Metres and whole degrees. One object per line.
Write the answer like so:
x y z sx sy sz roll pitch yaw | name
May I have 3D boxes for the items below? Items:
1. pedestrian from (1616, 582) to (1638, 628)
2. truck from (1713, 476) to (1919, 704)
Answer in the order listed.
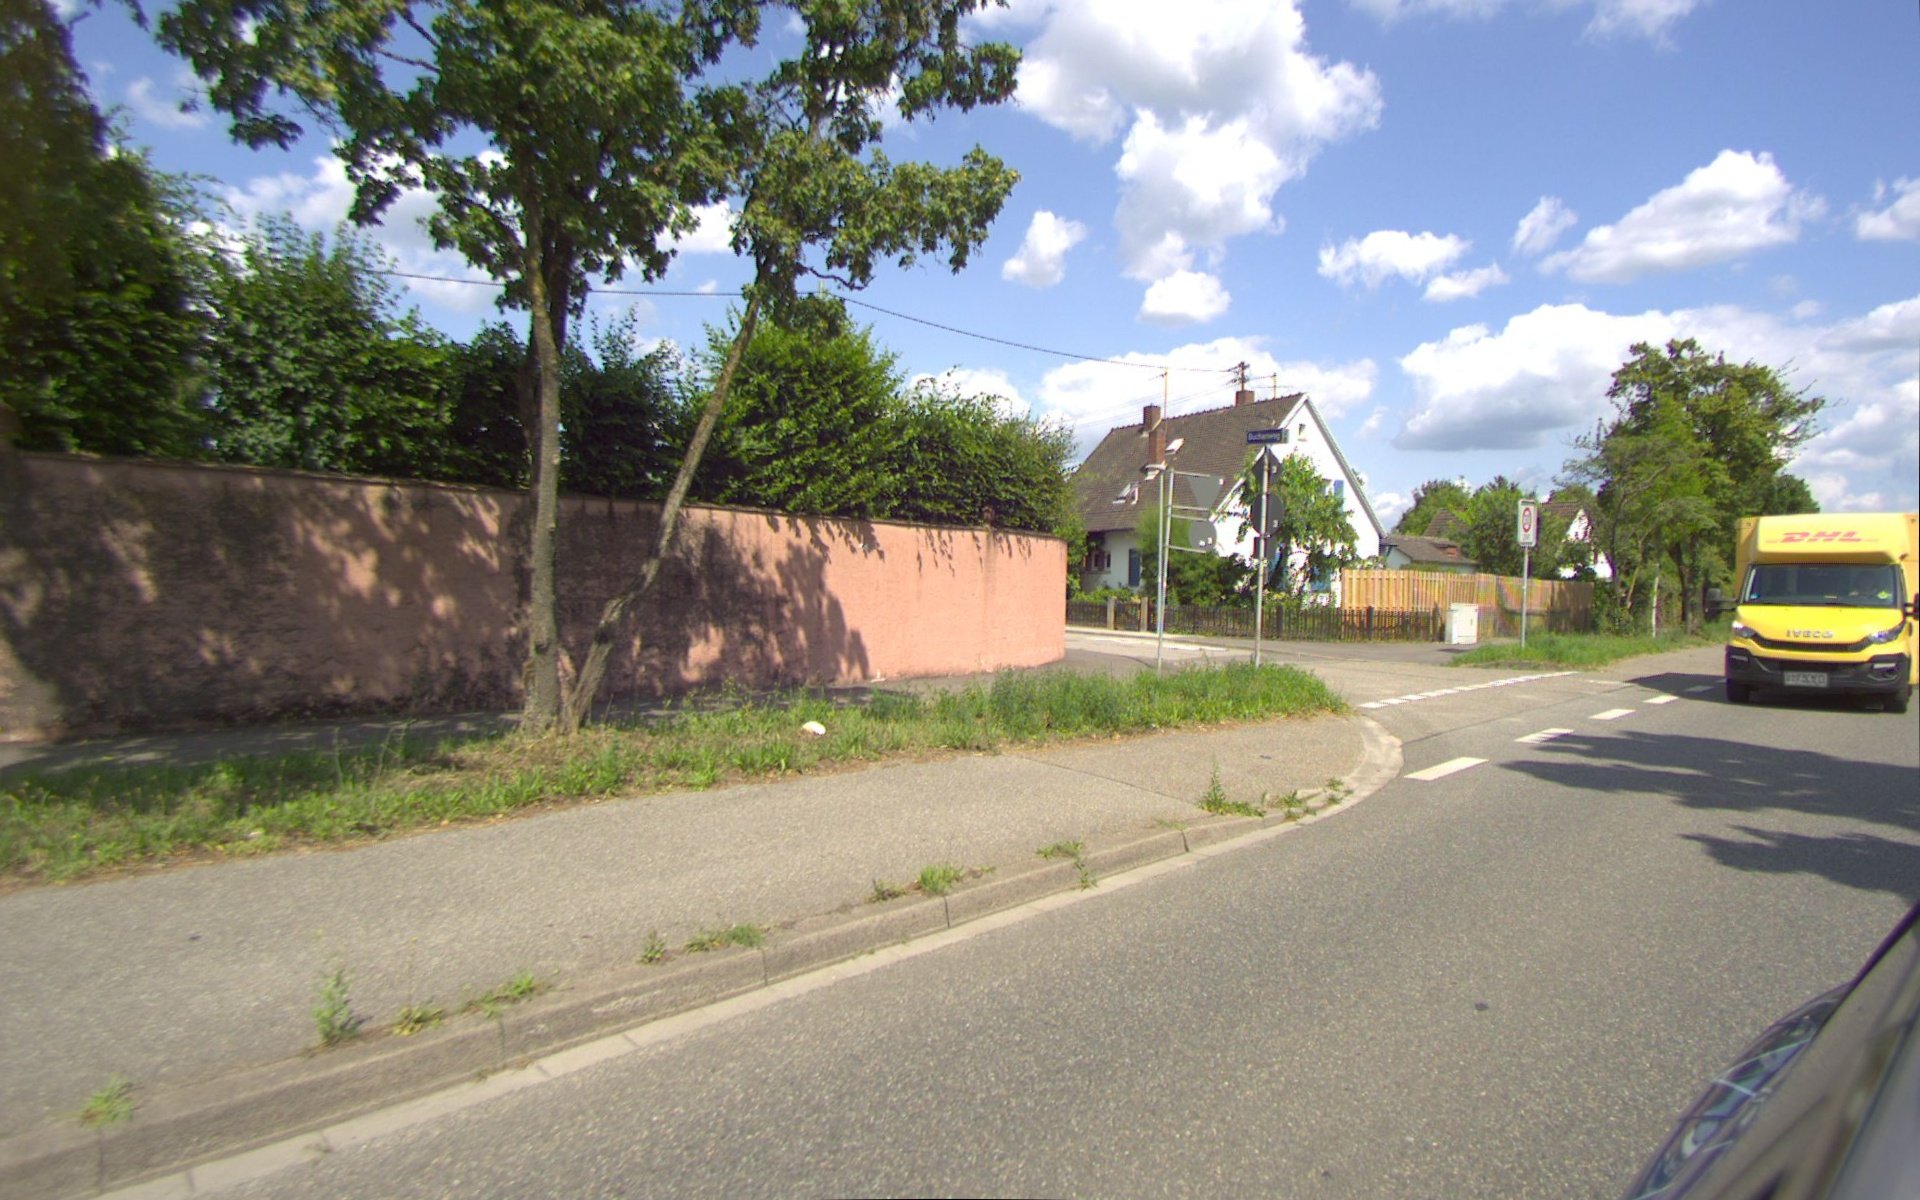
25.183 0.189 38.214 0.624 1.698 0.560 1 0 -44 | pedestrian
14.409 -0.072 16.515 7.895 2.917 2.266 1 -1 -45 | truck
